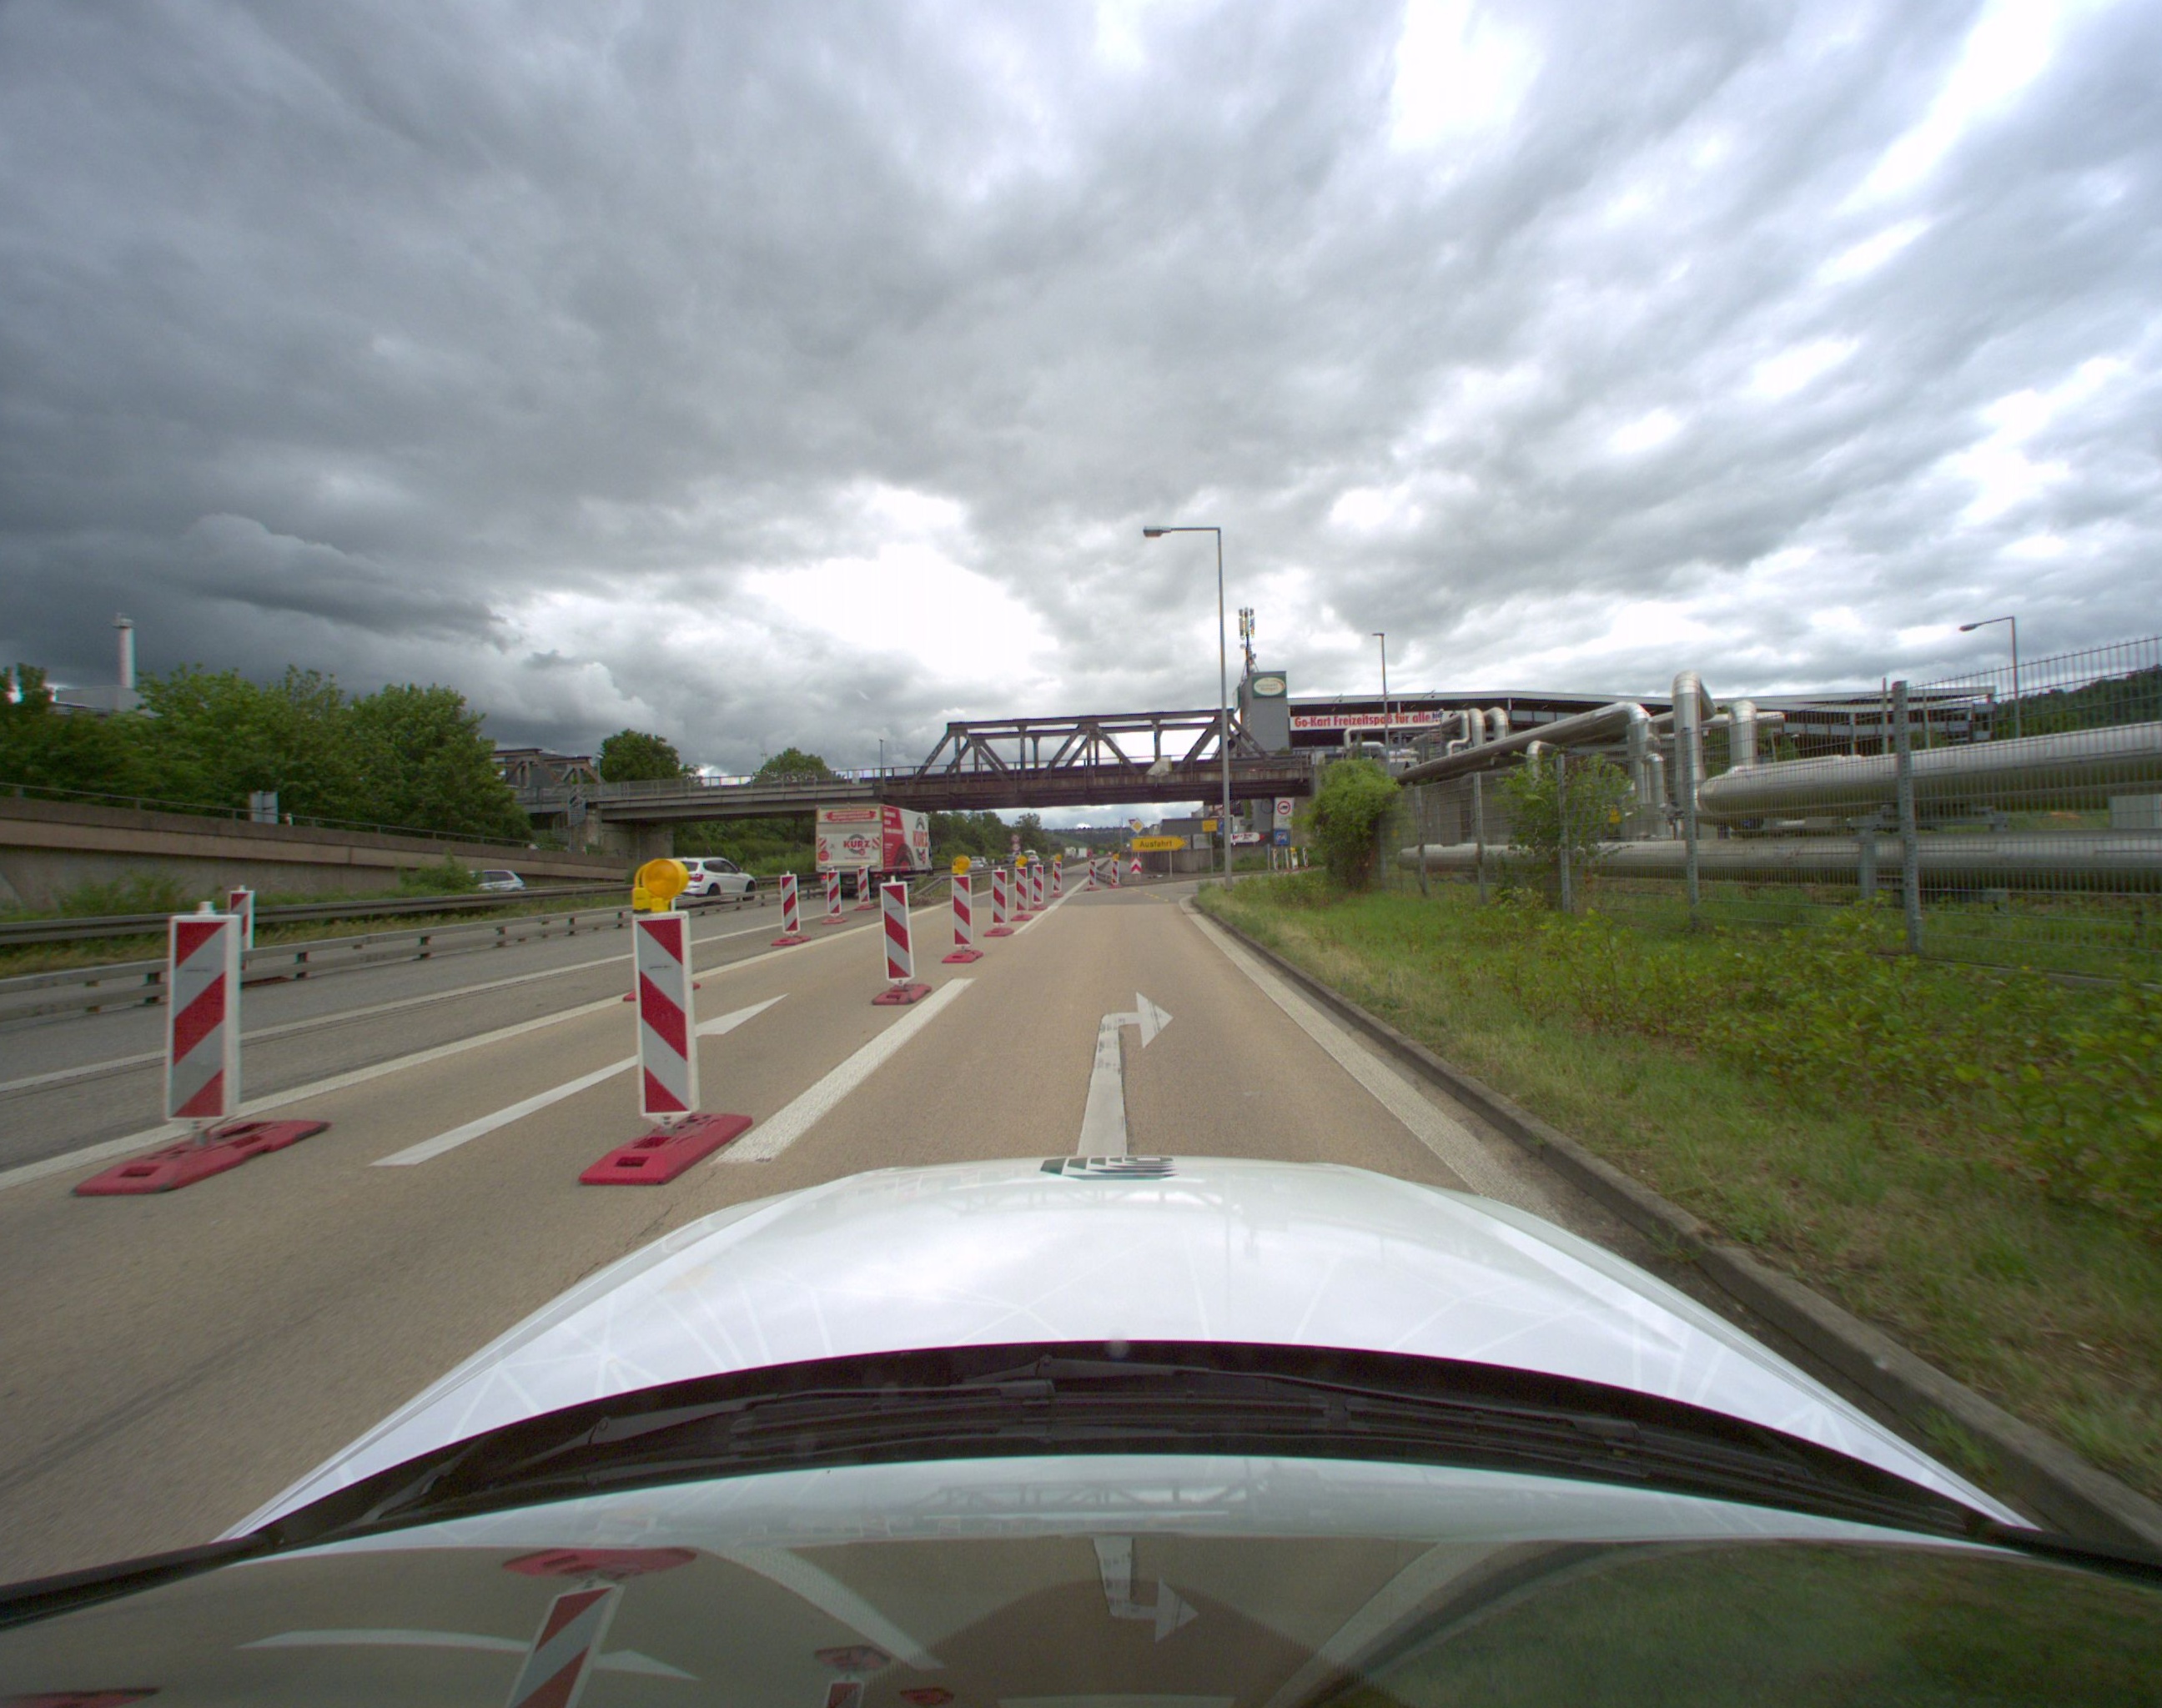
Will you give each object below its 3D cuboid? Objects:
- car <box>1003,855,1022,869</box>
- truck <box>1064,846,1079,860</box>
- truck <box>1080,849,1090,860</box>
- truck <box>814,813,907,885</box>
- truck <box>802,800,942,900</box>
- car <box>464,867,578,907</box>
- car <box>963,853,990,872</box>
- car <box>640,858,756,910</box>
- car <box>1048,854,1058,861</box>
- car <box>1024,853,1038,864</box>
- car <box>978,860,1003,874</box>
[{"bbox_3d":[-9.073,1.025,107.480,1.986,1.759,4.001,-2,-1,1],"label":"car"},{"bbox_3d":[-2.539,-0.278,221.004,3.704,3.645,7.734,-1,0,3],"label":"truck"},{"bbox_3d":[1.165,0.158,241.105,2.670,3.140,6.137,0,0,3],"label":"truck"},{"bbox_3d":[-12.107,-0.205,45.467,2.985,3.556,7.738,-2,-1,0],"label":"truck"},{"bbox_3d":[-8.555,-0.111,34.988,2.942,3.629,10.159,-1,0,2],"label":"truck"},{"bbox_3d":[-22.933,1.320,33.535,1.883,1.452,3.979,-2,-1,0],"label":"car"},{"bbox_3d":[-10.494,0.879,82.051,1.985,1.759,4.003,-2,-1,3],"label":"car"},{"bbox_3d":[-13.056,0.962,28.071,1.847,1.640,4.293,-1,-1,1],"label":"car"},{"bbox_3d":[-5.998,0.756,174.859,1.772,1.596,3.752,-1,0,3],"label":"car"},{"bbox_3d":[-8.244,0.766,134.335,1.987,1.816,4.000,-1,0,0],"label":"car"},{"bbox_3d":[-9.718,1.361,87.568,1.965,1.414,4.602,-2,-1,2],"label":"car"}]
